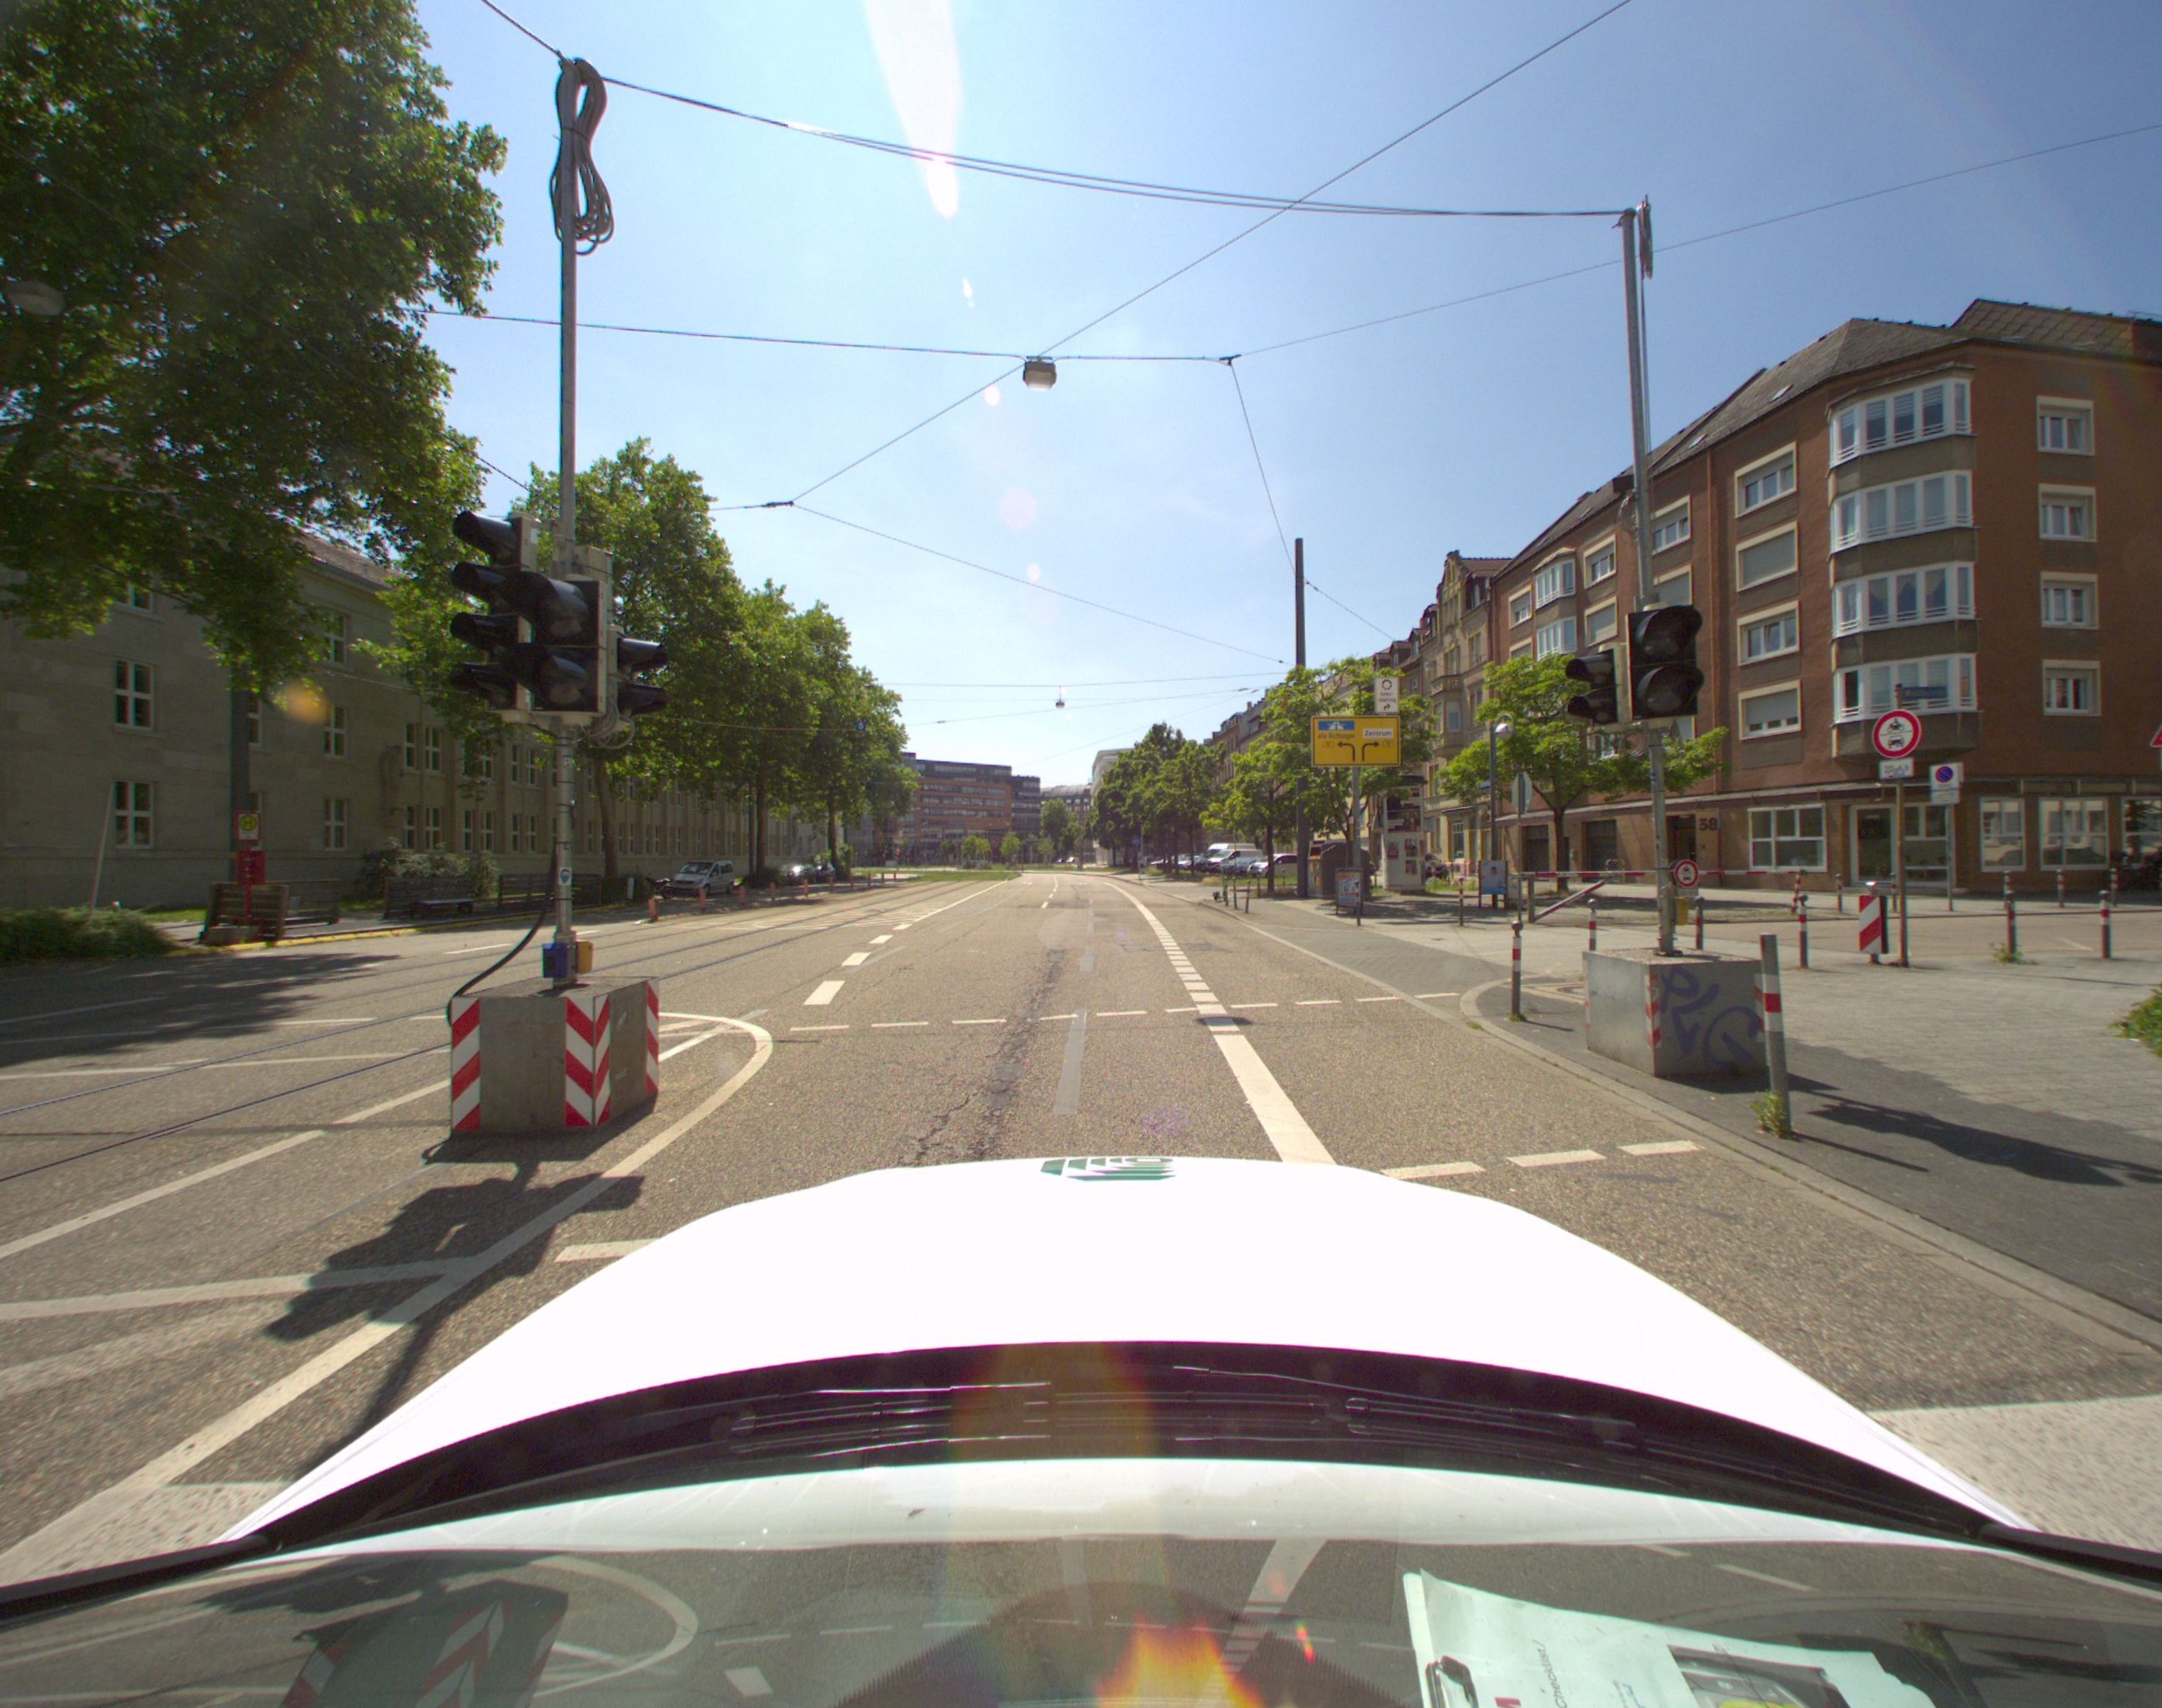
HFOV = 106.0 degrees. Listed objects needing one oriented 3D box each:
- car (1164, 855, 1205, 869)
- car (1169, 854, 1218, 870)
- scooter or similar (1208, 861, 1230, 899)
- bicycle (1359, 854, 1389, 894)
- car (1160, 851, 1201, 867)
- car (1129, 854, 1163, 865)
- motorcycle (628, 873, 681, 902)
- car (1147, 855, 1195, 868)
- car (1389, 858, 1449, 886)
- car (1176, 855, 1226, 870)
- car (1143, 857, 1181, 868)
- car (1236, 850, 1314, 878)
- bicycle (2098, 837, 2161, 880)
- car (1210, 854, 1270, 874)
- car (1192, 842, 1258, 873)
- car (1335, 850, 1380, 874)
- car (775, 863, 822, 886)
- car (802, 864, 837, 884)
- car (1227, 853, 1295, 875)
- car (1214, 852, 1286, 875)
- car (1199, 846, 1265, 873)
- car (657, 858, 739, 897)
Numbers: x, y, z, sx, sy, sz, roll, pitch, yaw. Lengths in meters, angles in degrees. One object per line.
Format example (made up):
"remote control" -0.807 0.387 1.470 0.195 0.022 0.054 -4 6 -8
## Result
"car" 10.669 0.816 83.899 4.016 1.400 1.694 1 -1 -35
"car" 10.718 0.756 77.431 4.716 1.427 1.949 1 -1 -39
"scooter or similar" 4.727 0.877 27.833 0.387 1.214 1.186 -4 0 22
"bicycle" 9.650 0.639 26.883 0.511 1.290 1.547 0 -1 3
"car" 10.597 0.510 86.947 4.010 1.662 1.954 1 -1 -29
"car" 9.648 0.817 121.230 4.888 1.601 1.819 1 -1 -30
"motorcycle" -18.474 1.459 35.270 1.878 1.068 0.720 7 -4 -33
"car" 9.849 0.831 89.121 4.794 1.313 2.132 1 -1 -24
"car" 20.131 1.053 48.720 1.984 1.600 4.605 0 -1 5
"car" 10.916 0.757 73.972 4.450 1.338 1.951 1 -1 -35
"car" 9.598 0.973 96.608 4.005 1.313 1.956 1 -1 -24
"car" 11.881 0.609 49.881 4.419 1.632 1.984 1 -1 -25
"bicycle" 32.477 0.147 24.769 2.713 1.287 0.703 0 -1 -9
"car" 11.539 0.733 59.246 4.004 1.387 1.809 1 -1 -24
"car" 11.777 0.295 66.235 5.579 2.461 2.212 1 -1 -39
"car" 20.399 0.603 60.207 1.815 1.684 3.995 0 -1 -3
"car" -18.813 1.355 54.405 1.758 1.483 4.320 0 -1 -1
"car" -19.236 1.431 60.139 1.585 1.424 4.314 0 -1 -6
"car" 11.668 0.629 52.854 4.004 1.399 1.809 1 -1 -24
"car" 11.645 0.645 56.023 4.642 1.497 1.948 1 -1 -27
"car" 11.654 0.423 62.765 4.864 1.973 2.056 1 -1 -31
"car" -18.720 1.117 40.044 1.987 1.811 4.299 0 -1 0
